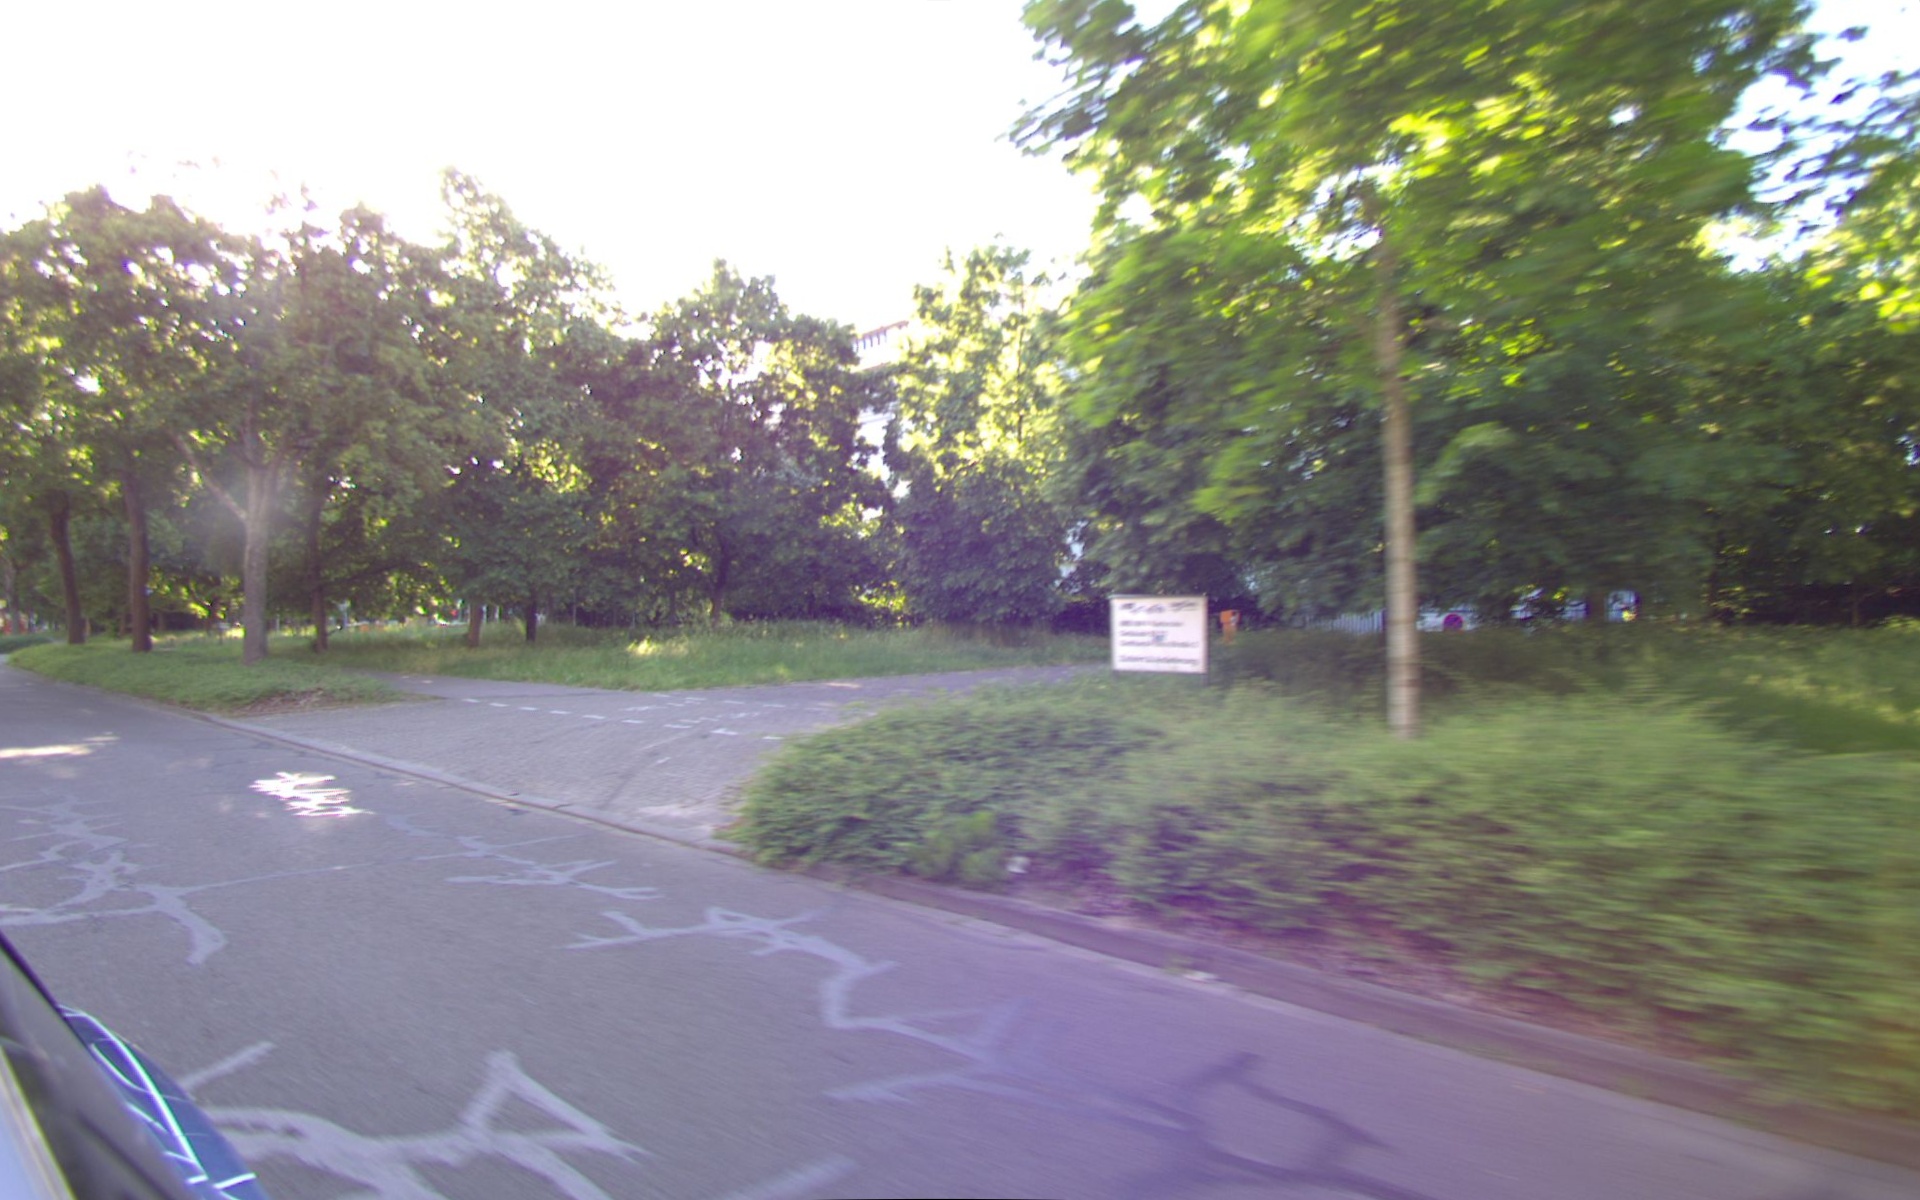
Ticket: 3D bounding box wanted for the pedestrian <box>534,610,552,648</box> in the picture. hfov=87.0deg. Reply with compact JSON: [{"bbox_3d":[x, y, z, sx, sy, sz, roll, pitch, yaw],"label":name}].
[{"bbox_3d":[-22.616,1.585,54.855,0.747,2.029,0.591,0,-1,-43],"label":"pedestrian"}]
